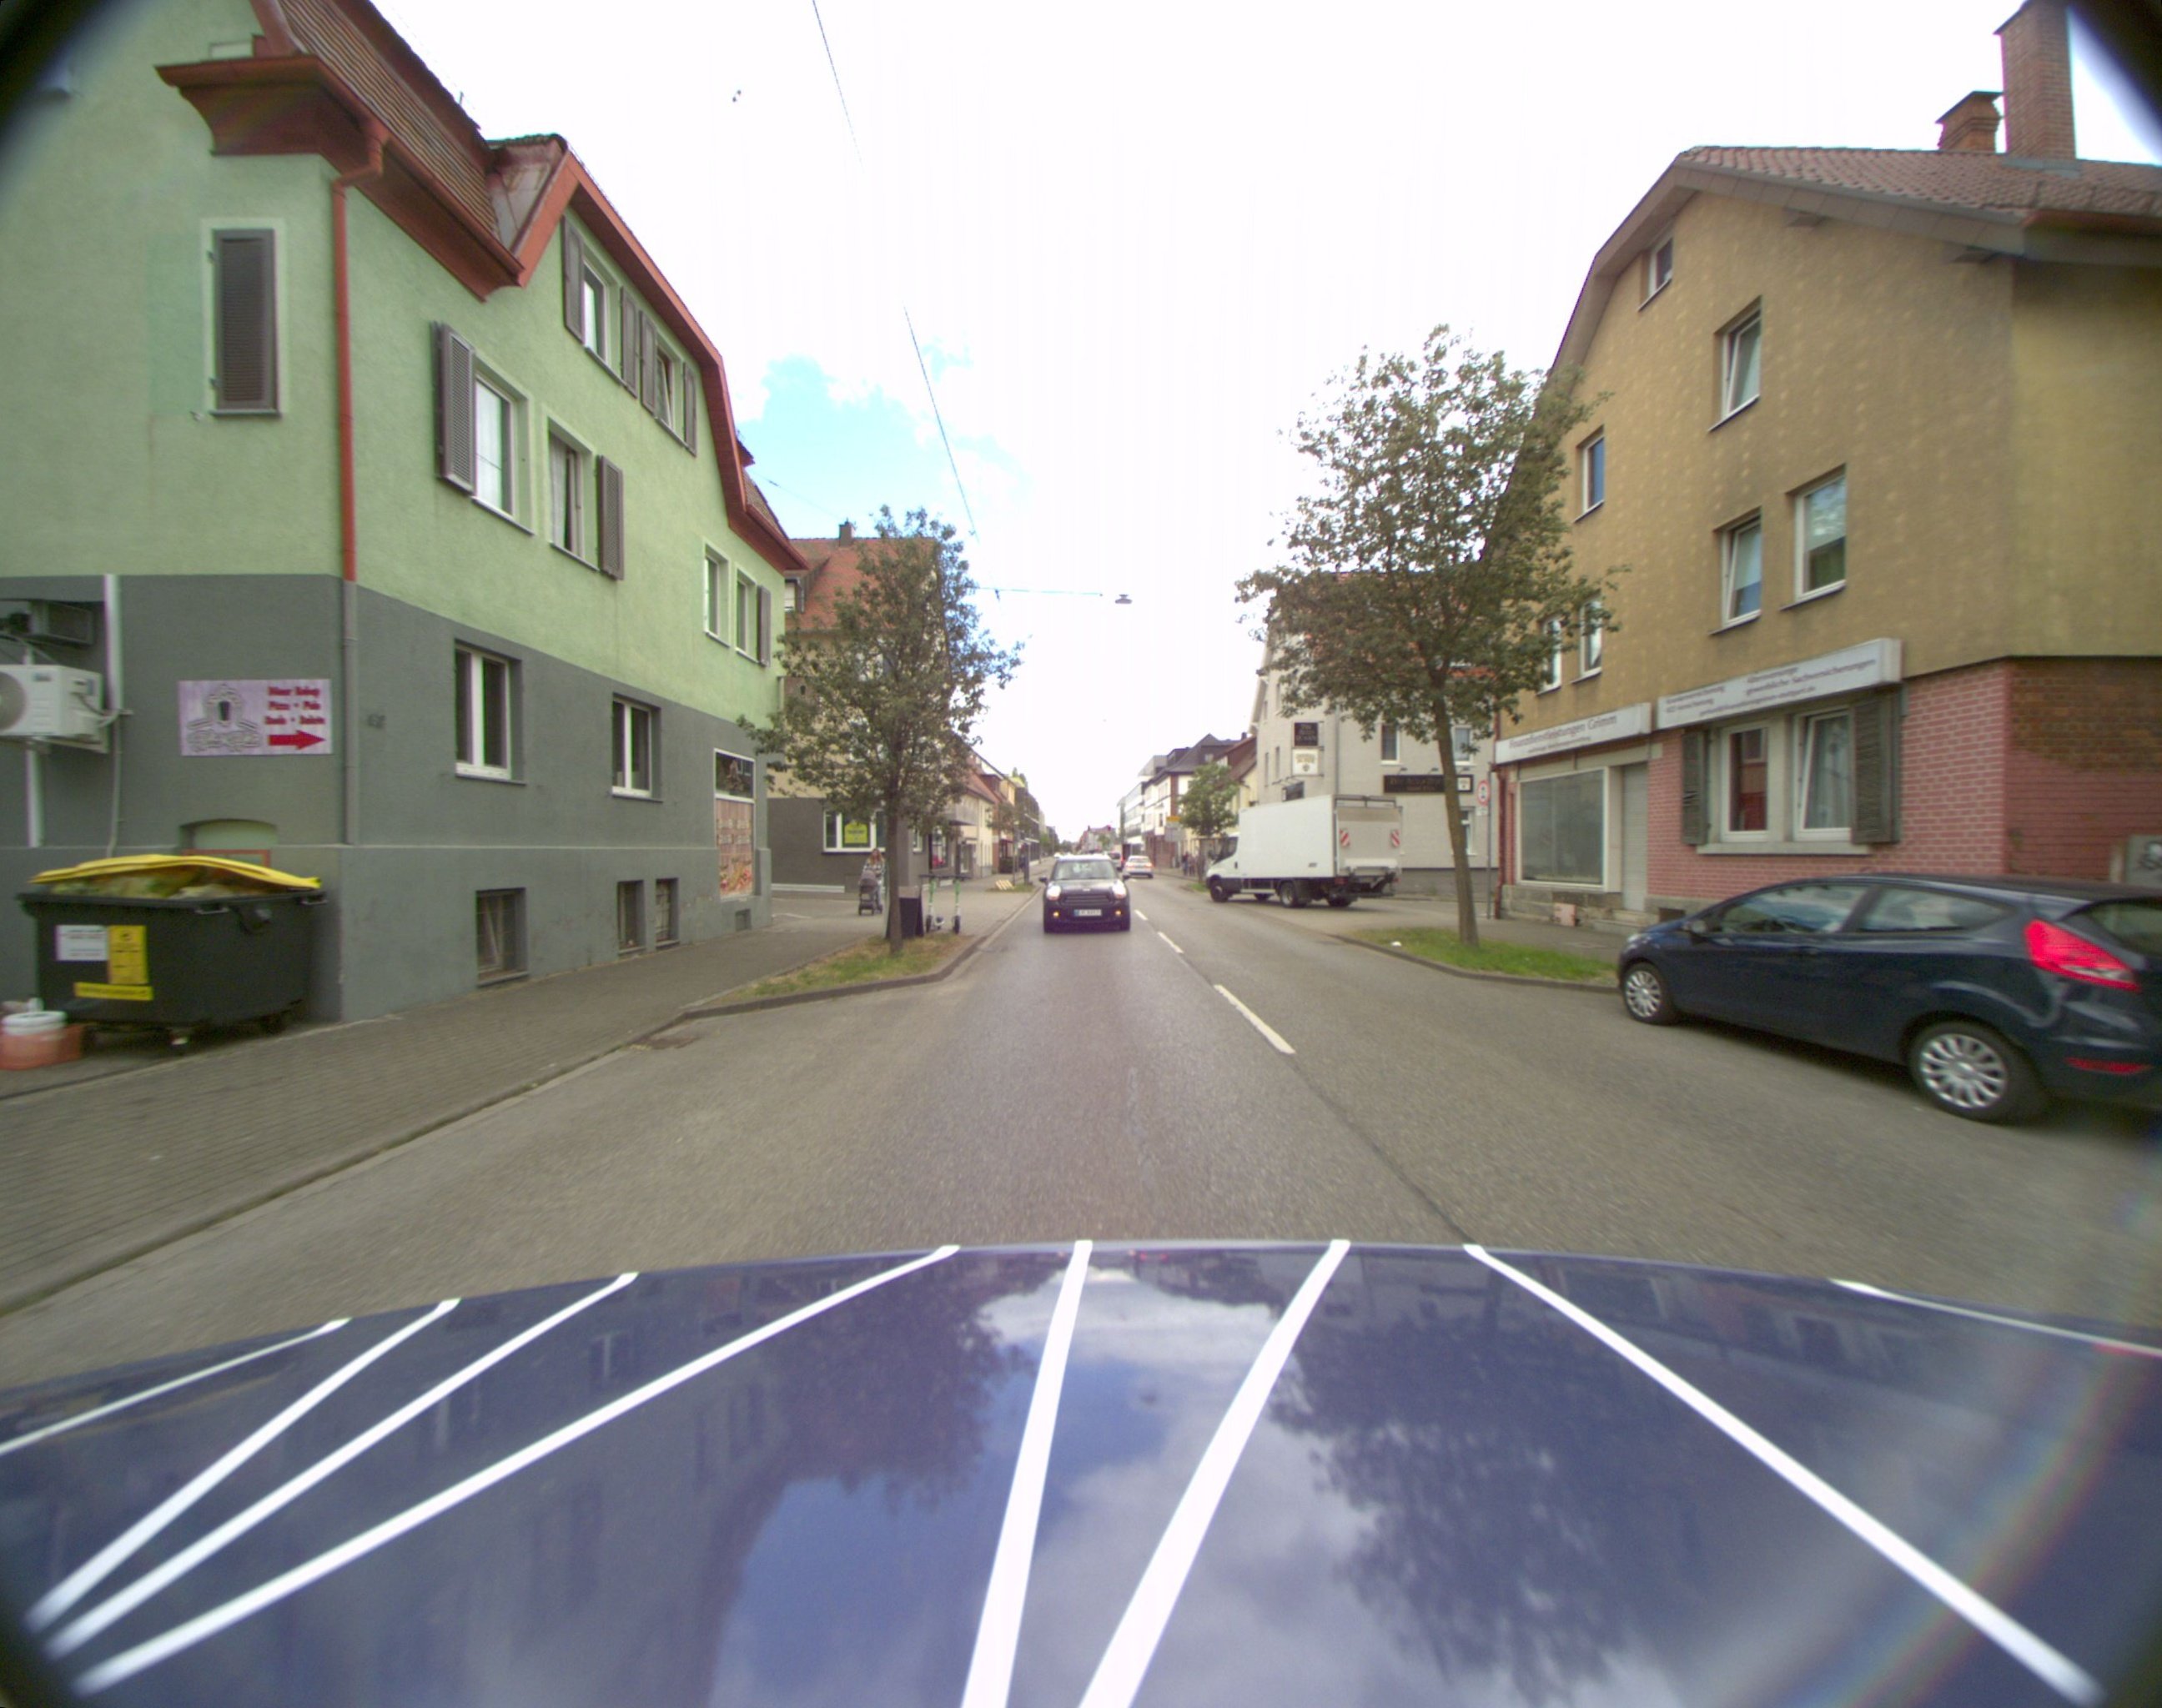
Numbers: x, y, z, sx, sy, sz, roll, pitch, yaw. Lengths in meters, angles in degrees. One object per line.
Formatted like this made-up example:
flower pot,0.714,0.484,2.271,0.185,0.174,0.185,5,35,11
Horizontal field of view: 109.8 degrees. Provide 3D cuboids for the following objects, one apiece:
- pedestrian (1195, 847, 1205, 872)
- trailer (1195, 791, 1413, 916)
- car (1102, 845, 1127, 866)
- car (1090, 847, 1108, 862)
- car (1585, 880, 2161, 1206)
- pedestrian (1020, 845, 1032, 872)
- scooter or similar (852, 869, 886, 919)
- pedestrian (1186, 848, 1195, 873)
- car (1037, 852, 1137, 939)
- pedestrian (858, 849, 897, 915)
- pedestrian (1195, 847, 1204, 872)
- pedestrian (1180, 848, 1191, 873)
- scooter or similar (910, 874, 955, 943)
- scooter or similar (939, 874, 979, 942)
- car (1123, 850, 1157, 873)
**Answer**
pedestrian,8.320,0.360,53.198,0.555,1.727,0.648,0,1,0
trailer,6.390,-0.082,23.166,2.514,3.201,7.120,-1,1,-22
car,3.003,0.123,68.925,1.998,1.785,4.276,1,1,0
car,2.022,0.059,85.707,1.785,1.543,4.074,2,0,-1
car,5.918,0.998,5.640,1.687,1.416,3.930,1,0,0
pedestrian,-4.327,0.333,59.894,0.826,2.062,1.010,3,1,-3
scooter or similar,-5.455,1.012,19.582,0.591,1.225,0.891,-1,1,0
pedestrian,7.480,0.433,51.791,0.497,1.727,0.648,0,1,0
car,0.109,0.798,16.786,1.847,1.571,4.428,-3,1,0
pedestrian,-5.482,0.734,20.498,0.752,1.710,0.900,-1,1,0
pedestrian,8.053,0.378,51.692,0.555,1.727,0.648,0,1,0
pedestrian,7.258,0.468,52.661,0.679,1.727,0.717,0,1,0
scooter or similar,-3.001,1.070,15.511,0.503,1.228,1.942,-1,1,0
scooter or similar,-2.466,1.063,15.518,0.503,1.228,1.942,-1,1,0
car,3.881,0.442,50.640,1.847,1.425,4.542,1,0,0
